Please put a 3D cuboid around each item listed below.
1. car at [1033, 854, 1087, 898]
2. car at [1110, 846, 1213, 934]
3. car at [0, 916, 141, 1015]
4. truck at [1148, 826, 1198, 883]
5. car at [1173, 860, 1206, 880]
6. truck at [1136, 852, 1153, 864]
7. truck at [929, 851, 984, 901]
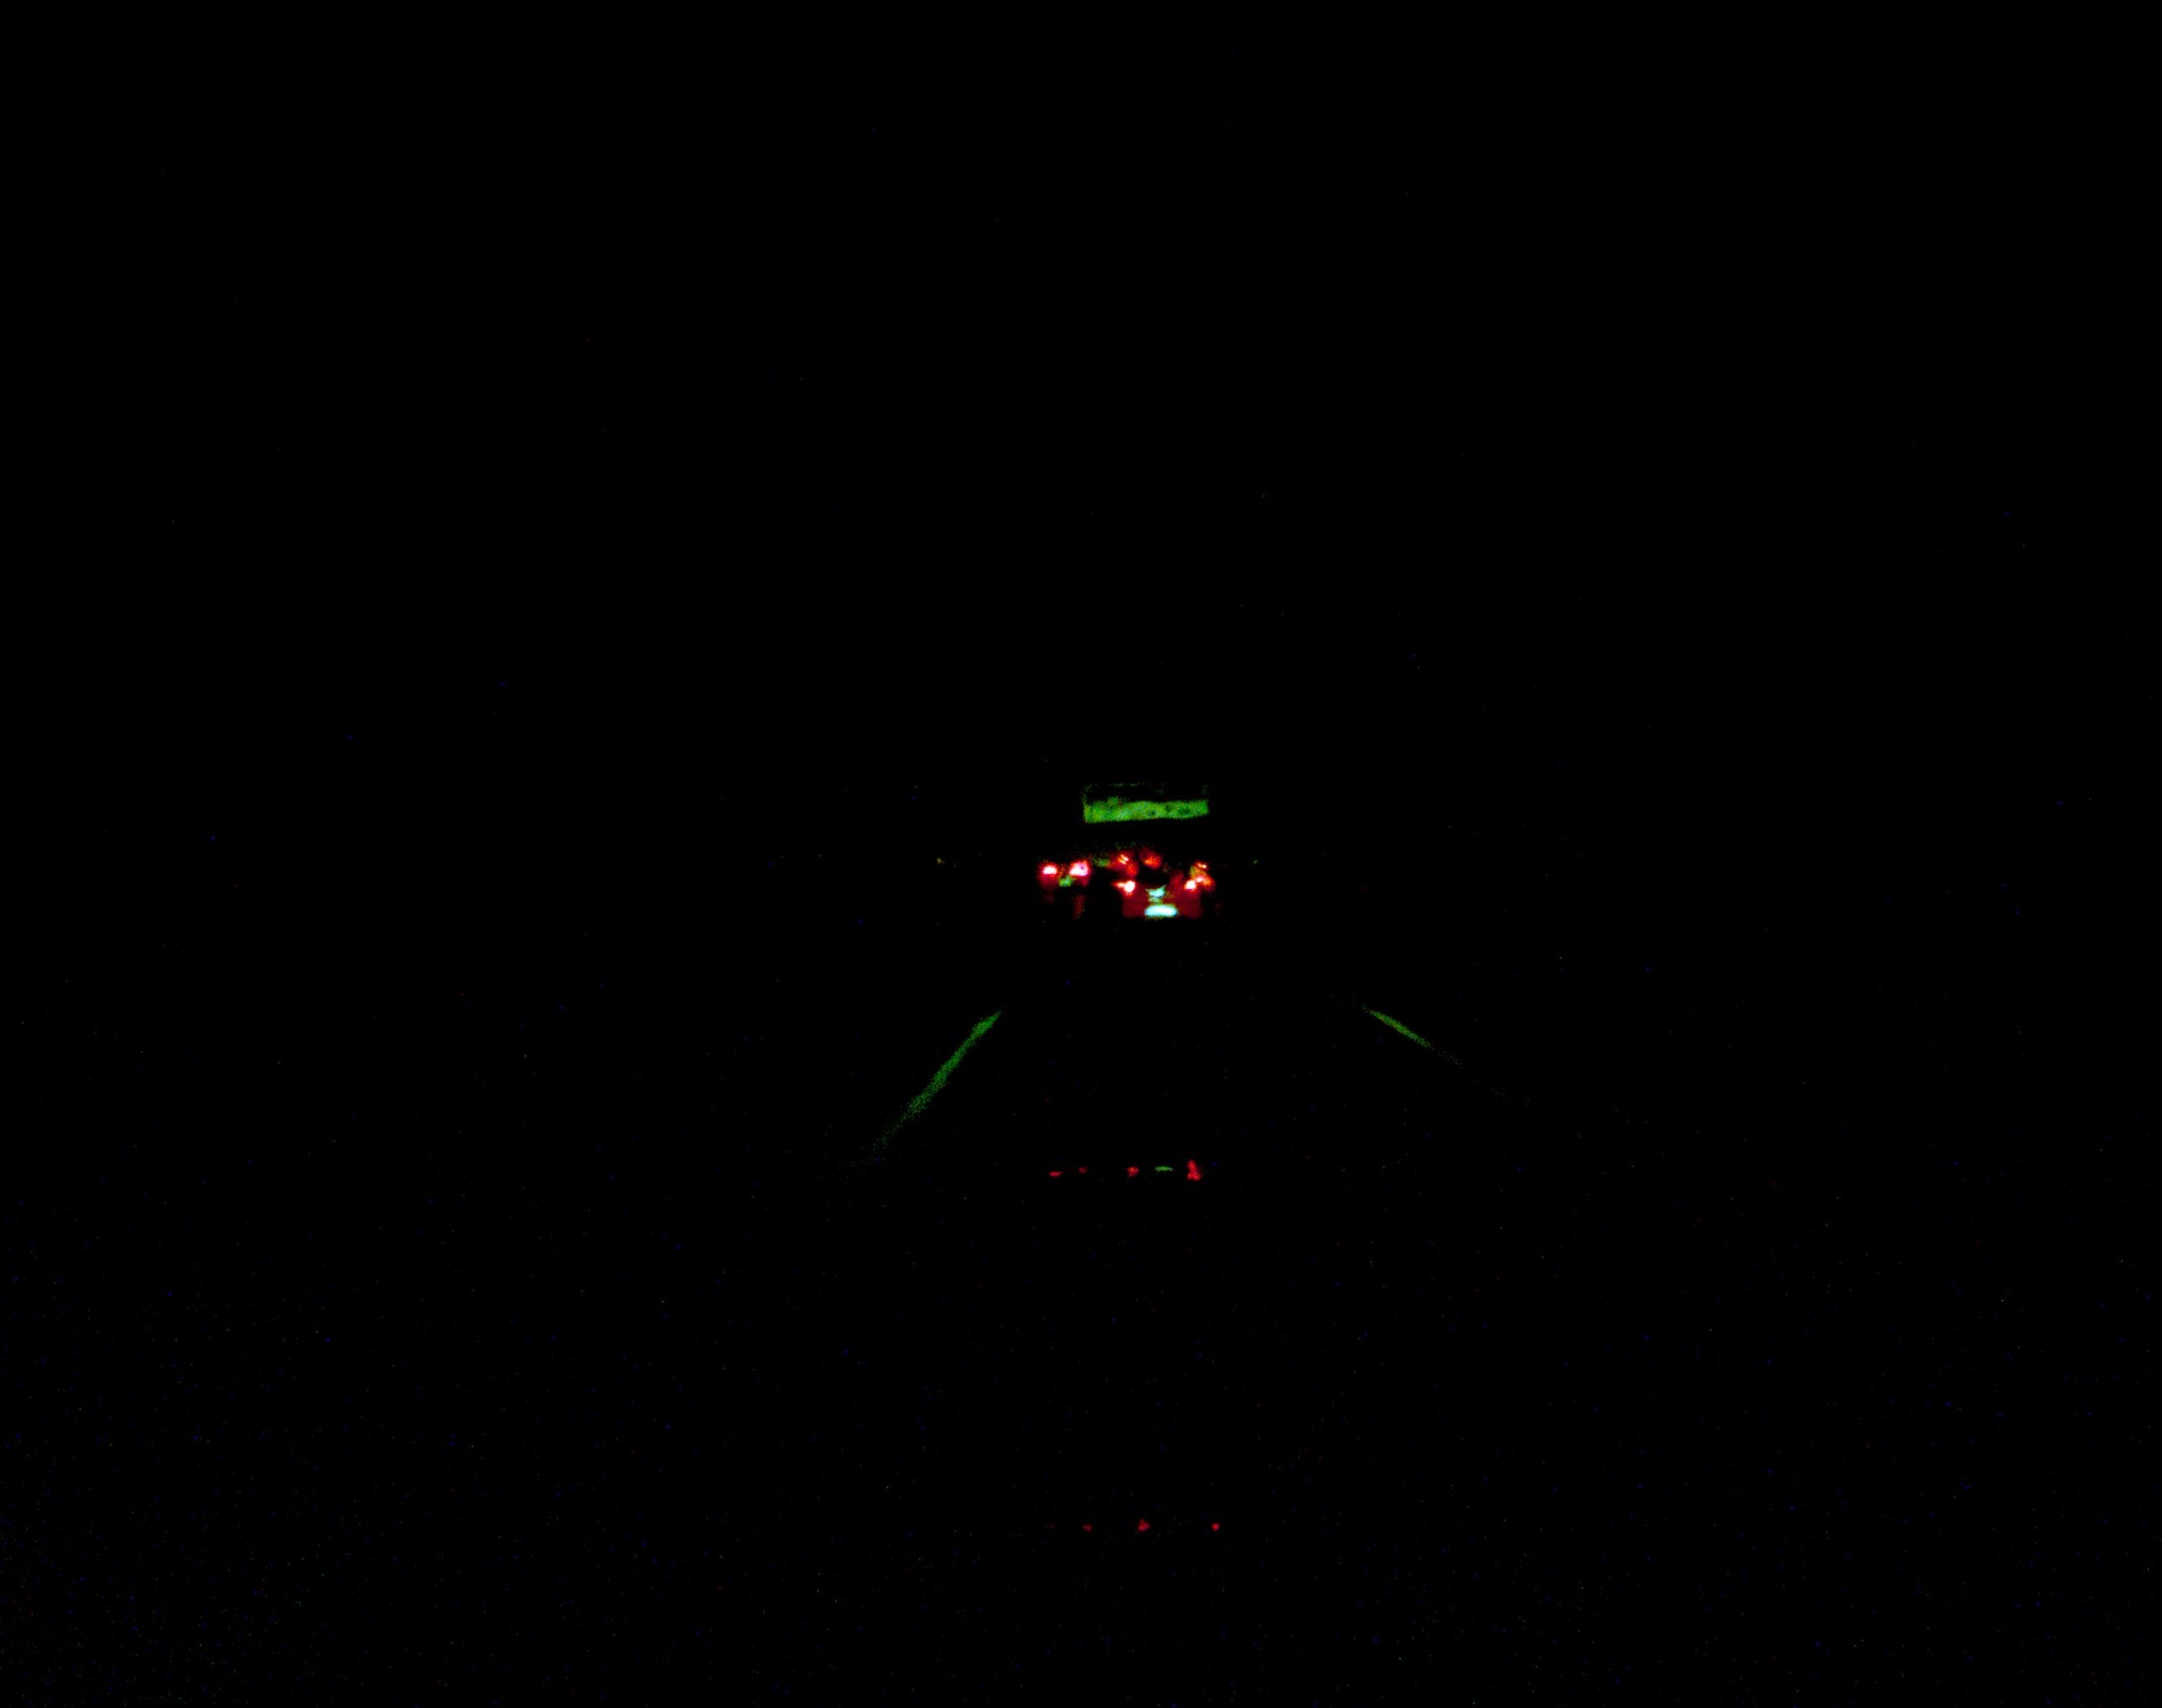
[{"bbox_3d":[-0.877,0.969,37.510,1.985,1.777,4.891,-4,-1,3],"label":"car"},{"bbox_3d":[1.660,0.722,17.928,1.908,1.594,4.236,-4,-1,2],"label":"car"},{"bbox_3d":[-19.051,1.943,13.588,1.986,1.486,4.002,0,0,2],"label":"car"},{"bbox_3d":[9.882,0.080,89.306,4.151,5.544,13.081,-3,-1,2],"label":"truck"},{"bbox_3d":[7.431,1.077,56.245,1.883,1.354,4.001,0,0,2],"label":"car"},{"bbox_3d":[16.092,1.089,207.183,3.821,3.055,11.009,0,0,2],"label":"truck"},{"bbox_3d":[-14.606,2.445,96.695,3.825,5.544,12.222,0,0,4],"label":"truck"}]
